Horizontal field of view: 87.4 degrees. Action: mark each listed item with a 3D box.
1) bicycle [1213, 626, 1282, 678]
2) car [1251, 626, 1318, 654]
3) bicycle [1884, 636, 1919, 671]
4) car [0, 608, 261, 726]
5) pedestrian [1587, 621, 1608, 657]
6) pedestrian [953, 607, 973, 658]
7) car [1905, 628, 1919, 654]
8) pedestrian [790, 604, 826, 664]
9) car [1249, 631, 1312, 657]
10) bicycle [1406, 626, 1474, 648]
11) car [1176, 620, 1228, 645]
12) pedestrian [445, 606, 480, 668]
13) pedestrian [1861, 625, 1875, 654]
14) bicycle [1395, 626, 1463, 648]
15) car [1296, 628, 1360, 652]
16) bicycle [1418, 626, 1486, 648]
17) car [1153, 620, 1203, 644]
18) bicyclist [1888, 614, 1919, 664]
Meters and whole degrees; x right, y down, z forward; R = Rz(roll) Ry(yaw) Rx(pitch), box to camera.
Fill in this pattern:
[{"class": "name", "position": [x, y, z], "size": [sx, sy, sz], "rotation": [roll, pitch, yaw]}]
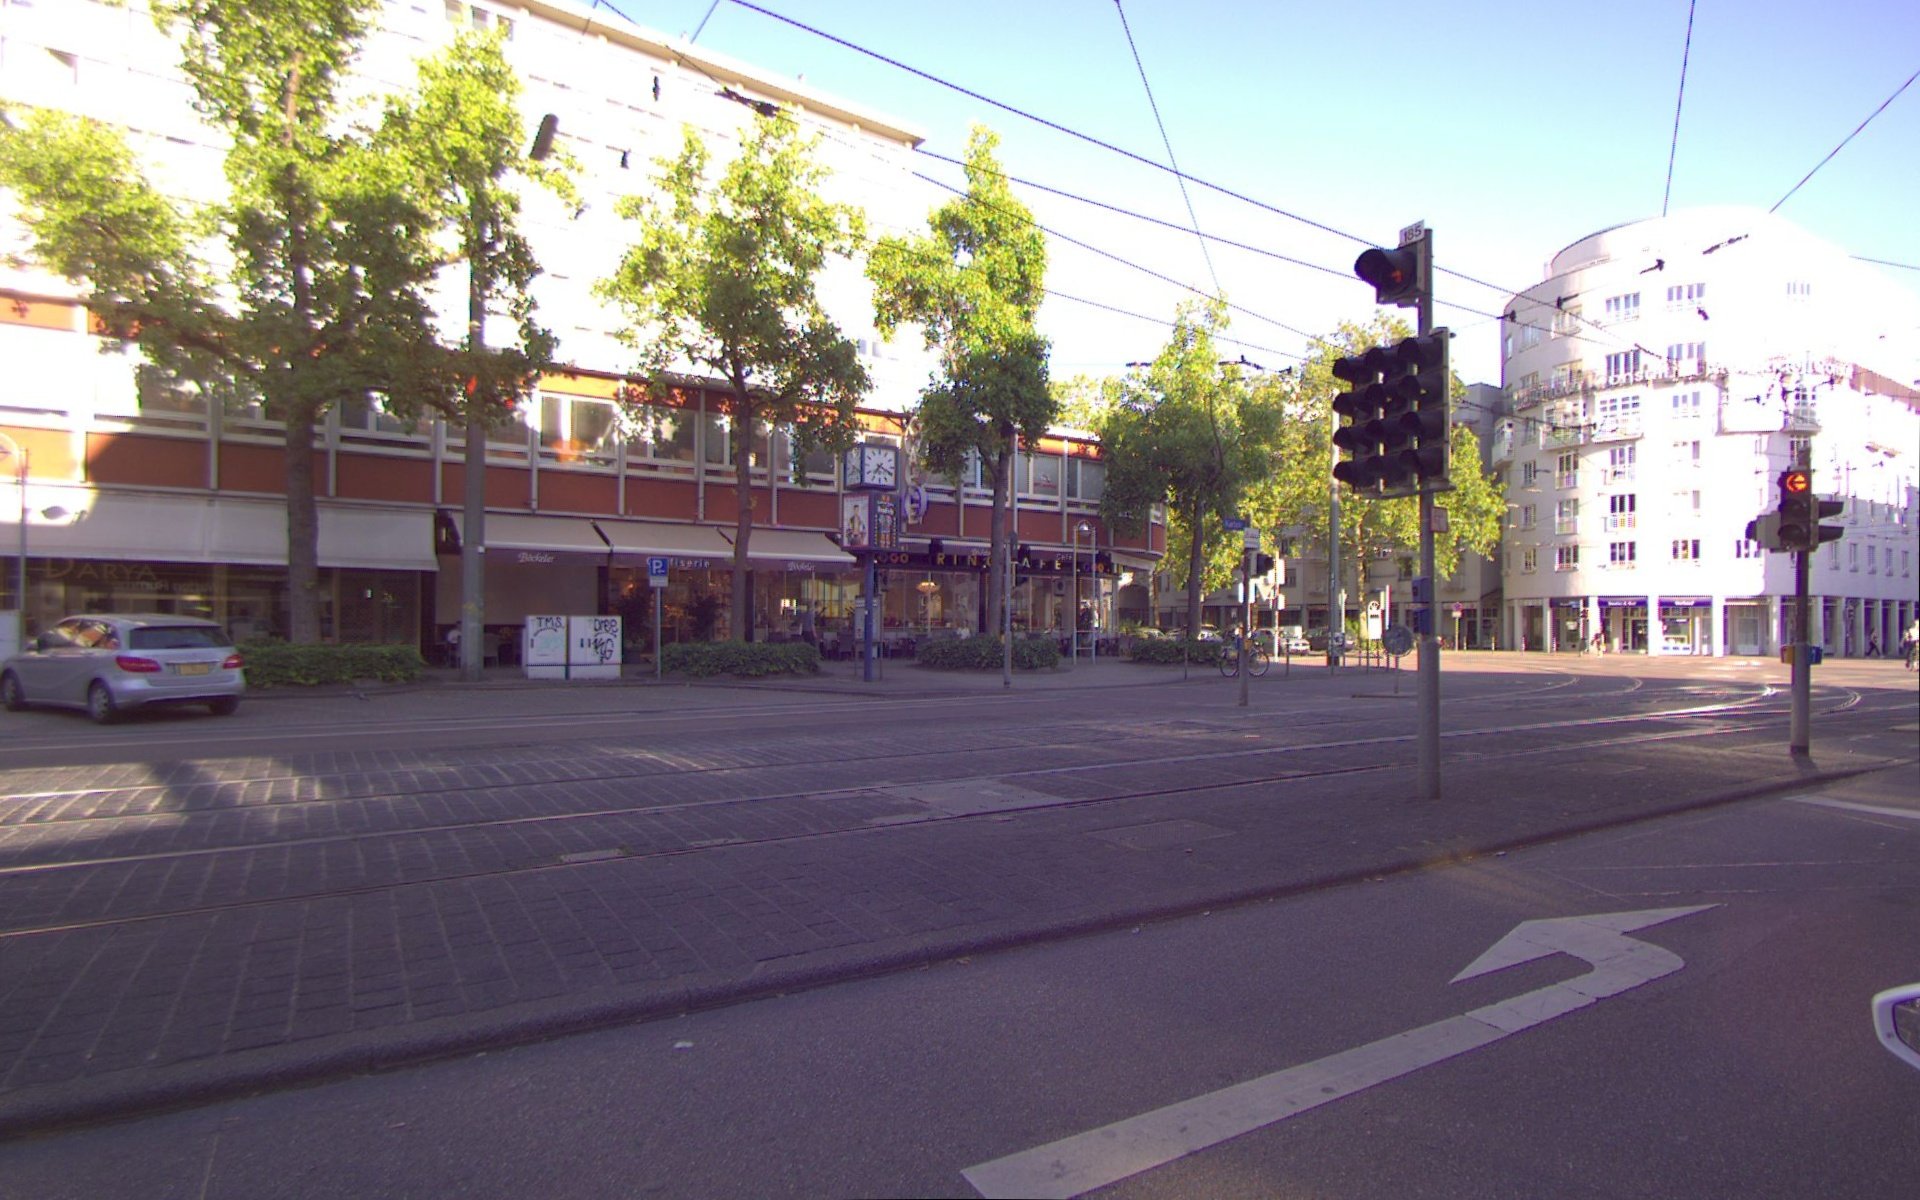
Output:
[{"class": "bicycle", "position": [7.944, 1.421, 27.713], "size": [1.884, 1.345, 0.667], "rotation": [1, 2, -30]}, {"class": "car", "position": [18.990, 2.318, 58.947], "size": [1.605, 1.579, 4.001], "rotation": [0, -2, -19]}, {"class": "bicycle", "position": [33.451, 1.878, 35.555], "size": [2.032, 1.162, 0.801], "rotation": [1, -2, -39]}, {"class": "car", "position": [-13.296, 0.973, 15.921], "size": [4.200, 1.587, 1.825], "rotation": [1, -1, 26]}, {"class": "pedestrian", "position": [36.495, 2.242, 57.519], "size": [0.930, 2.040, 0.939], "rotation": [0, -1, 30]}, {"class": "pedestrian", "position": [0.101, 1.137, 35.144], "size": [0.590, 1.745, 0.647], "rotation": [0, 1, -14]}, {"class": "car", "position": [58.664, 2.467, 60.471], "size": [3.423, 1.566, 1.756], "rotation": [1, -2, -32]}, {"class": "pedestrian", "position": [-4.551, 1.010, 30.098], "size": [0.866, 1.745, 0.700], "rotation": [0, 1, -34]}, {"class": "car", "position": [17.114, 2.327, 53.865], "size": [1.738, 1.312, 4.014], "rotation": [0, -2, -7]}, {"class": "bicycle", "position": [34.226, 2.604, 71.753], "size": [1.053, 1.550, 4.684], "rotation": [1, -2, -28]}, {"class": "car", "position": [20.164, 2.715, 83.581], "size": [3.954, 1.990, 1.984], "rotation": [1, -1, -31]}, {"class": "pedestrian", "position": [-12.896, 0.947, 26.043], "size": [0.699, 1.584, 0.867], "rotation": [1, -1, -33]}, {"class": "pedestrian", "position": [52.242, 2.264, 57.787], "size": [0.482, 1.704, 0.519], "rotation": [1, -1, -40]}, {"class": "bicycle", "position": [33.195, 2.597, 71.289], "size": [1.053, 1.550, 4.684], "rotation": [1, -2, -28]}, {"class": "car", "position": [24.557, 2.635, 67.171], "size": [1.595, 1.551, 3.973], "rotation": [0, -1, -27]}, {"class": "bicycle", "position": [35.518, 2.645, 72.581], "size": [1.053, 1.550, 4.684], "rotation": [1, -2, -28]}, {"class": "car", "position": [18.683, 2.753, 86.091], "size": [3.954, 1.990, 1.984], "rotation": [1, -1, -31]}, {"class": "bicyclist", "position": [33.549, 1.391, 35.642], "size": [0.787, 1.749, 0.802], "rotation": [1, -1, -38]}]
